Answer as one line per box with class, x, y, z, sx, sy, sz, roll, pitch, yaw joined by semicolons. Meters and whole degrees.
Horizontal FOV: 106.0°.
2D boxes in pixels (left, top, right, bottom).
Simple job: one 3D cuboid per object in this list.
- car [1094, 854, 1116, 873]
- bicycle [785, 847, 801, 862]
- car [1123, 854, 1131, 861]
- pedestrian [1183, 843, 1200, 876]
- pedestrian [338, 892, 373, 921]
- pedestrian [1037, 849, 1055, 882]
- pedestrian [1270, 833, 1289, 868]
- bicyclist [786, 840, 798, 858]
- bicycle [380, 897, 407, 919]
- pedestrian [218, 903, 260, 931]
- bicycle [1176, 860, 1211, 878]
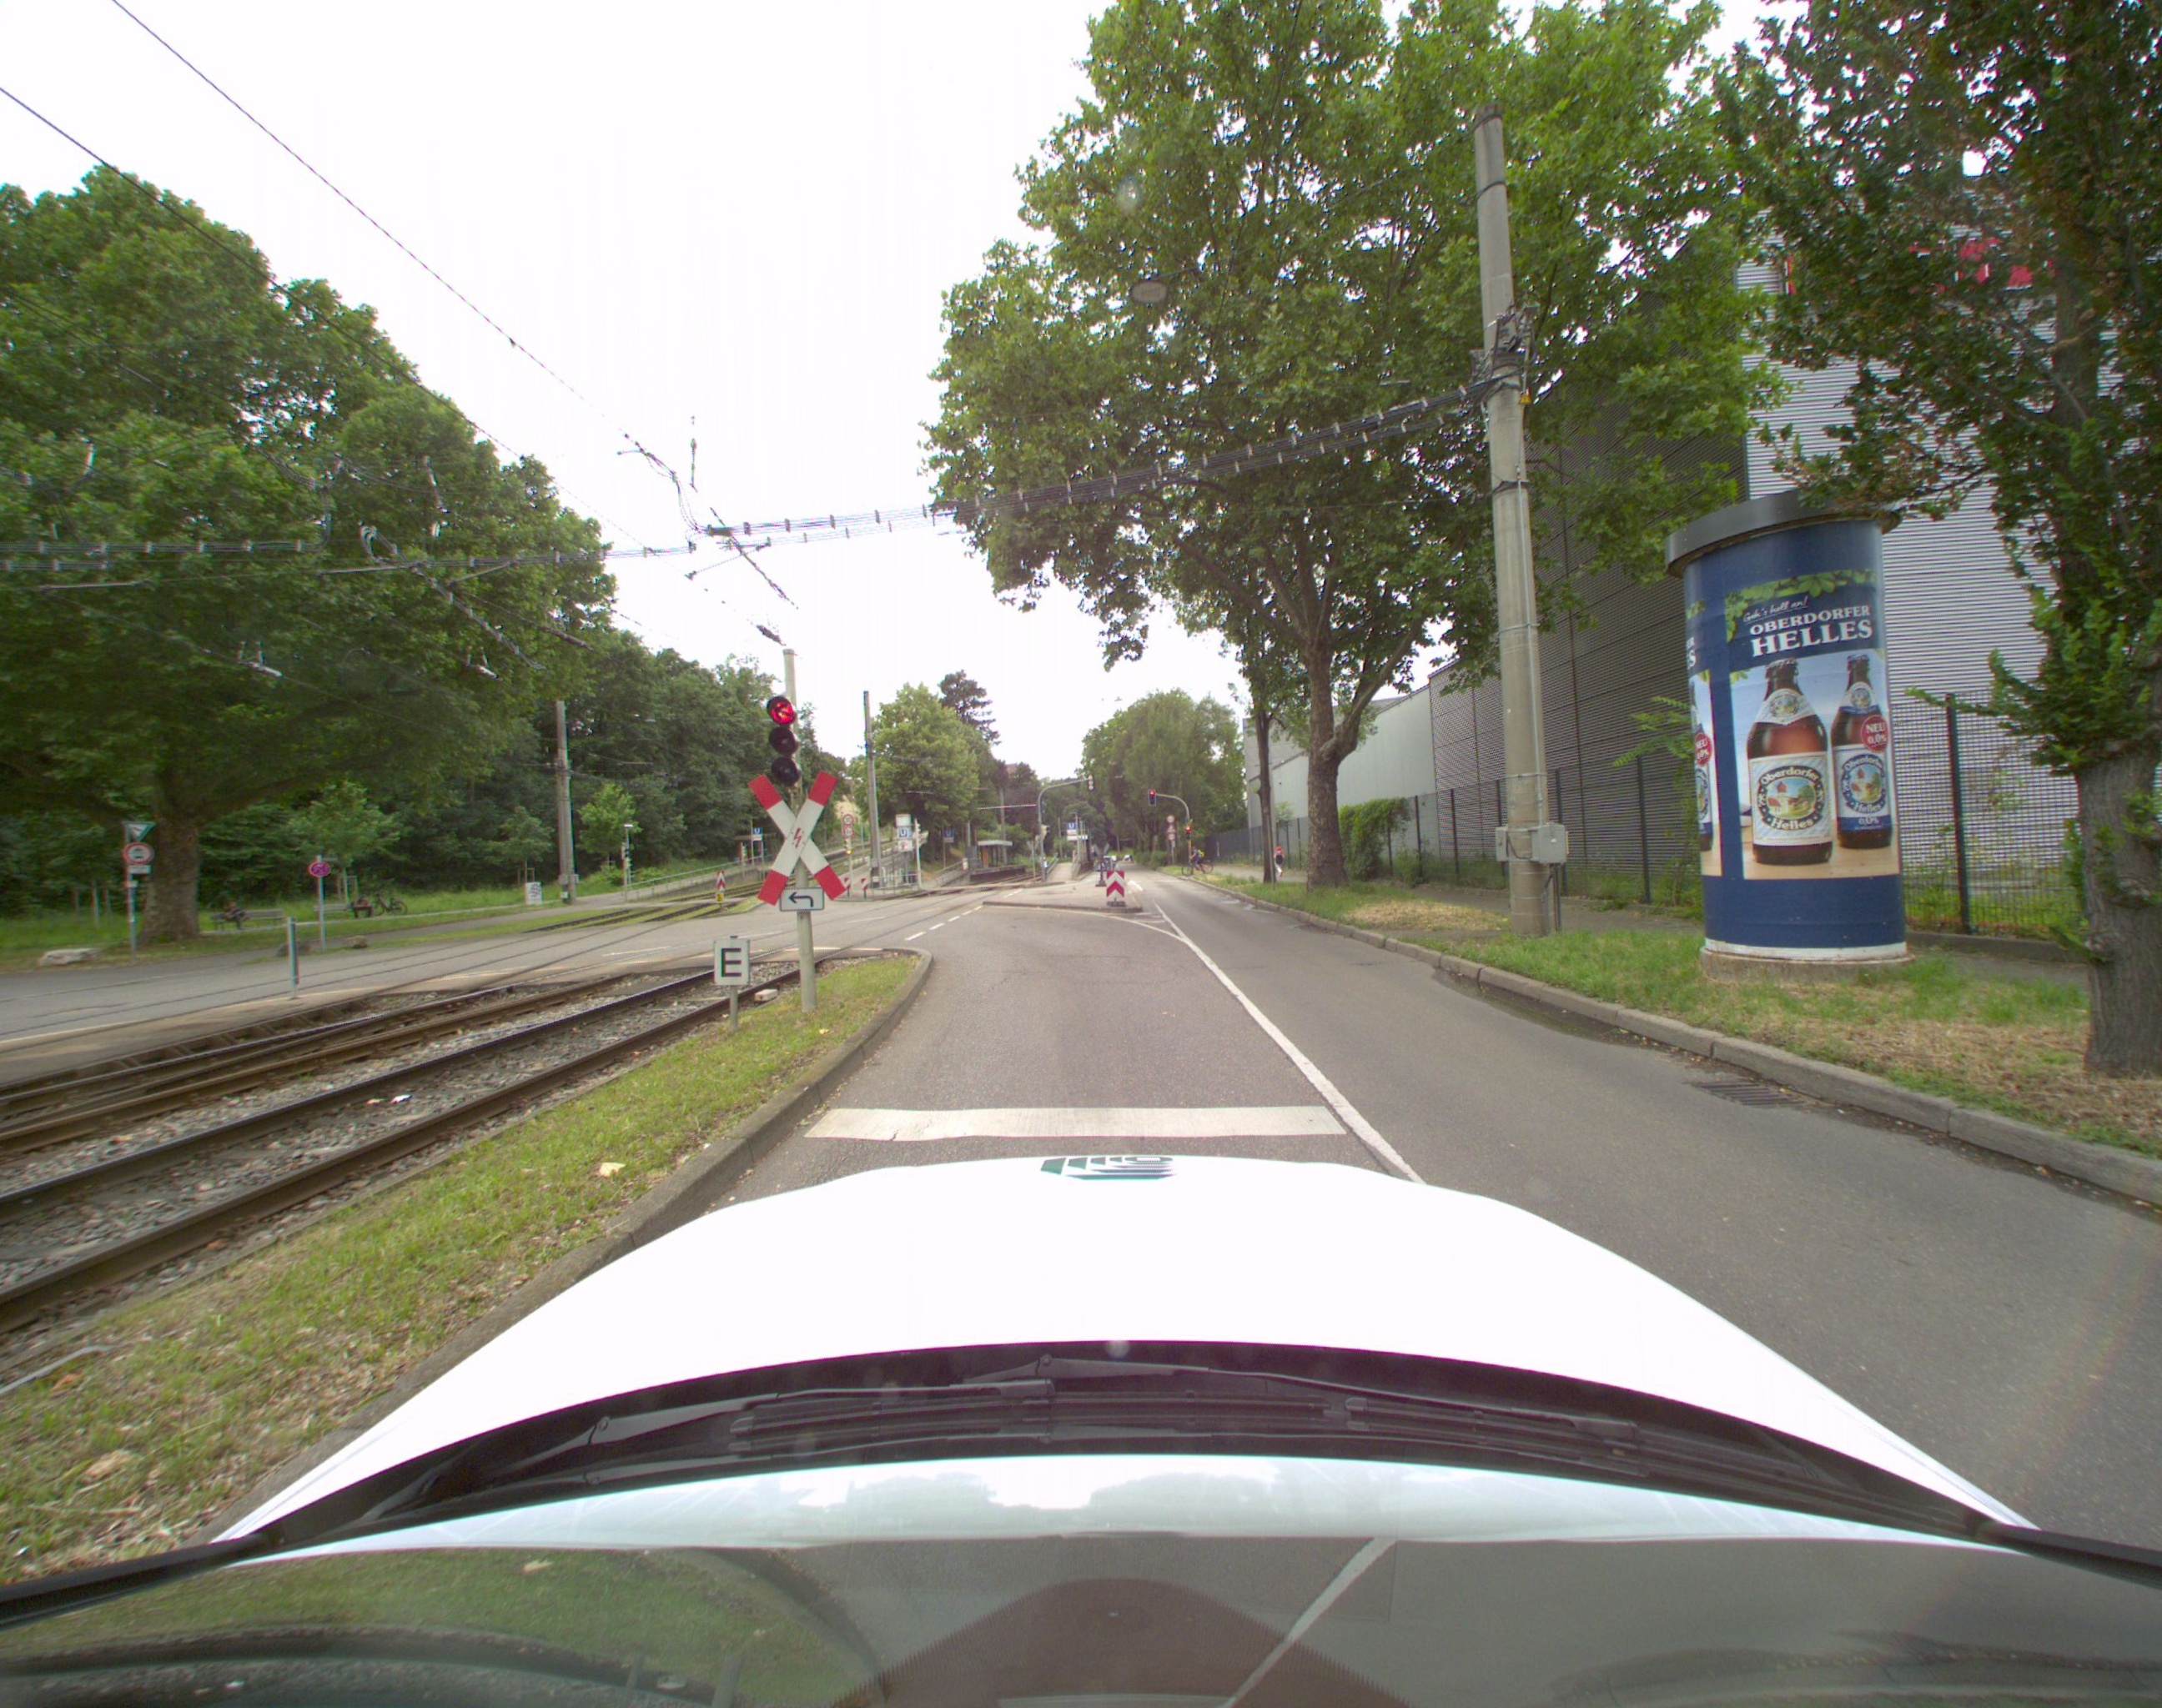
car;2.356;0.930;78.563;1.986;1.662;4.002;-3;0;2
bicycle;-29.821;0.051;84.250;0.823;1.343;2.990;-4;3;-6
car;12.384;0.952;219.165;1.985;1.662;4.003;2;0;3
pedestrian;6.846;0.354;50.657;0.926;2.013;0.669;-3;-1;7
pedestrian;-33.542;2.405;37.668;1.102;1.268;1.063;-2;-2;39
pedestrian;-2.044;0.660;47.453;0.904;1.852;0.771;-3;-1;2
pedestrian;9.151;-0.146;37.603;0.662;1.553;0.936;-3;0;7
bicyclist;-29.861;-0.514;84.270;0.820;1.848;1.049;-3;2;-6
bicycle;-32.633;2.551;38.634;1.631;1.012;0.680;-2;-2;39
pedestrian;-35.103;2.626;33.952;0.894;1.095;1.088;-2;-2;37
bicycle;6.989;0.914;50.654;2.063;1.007;0.669;-3;0;7
